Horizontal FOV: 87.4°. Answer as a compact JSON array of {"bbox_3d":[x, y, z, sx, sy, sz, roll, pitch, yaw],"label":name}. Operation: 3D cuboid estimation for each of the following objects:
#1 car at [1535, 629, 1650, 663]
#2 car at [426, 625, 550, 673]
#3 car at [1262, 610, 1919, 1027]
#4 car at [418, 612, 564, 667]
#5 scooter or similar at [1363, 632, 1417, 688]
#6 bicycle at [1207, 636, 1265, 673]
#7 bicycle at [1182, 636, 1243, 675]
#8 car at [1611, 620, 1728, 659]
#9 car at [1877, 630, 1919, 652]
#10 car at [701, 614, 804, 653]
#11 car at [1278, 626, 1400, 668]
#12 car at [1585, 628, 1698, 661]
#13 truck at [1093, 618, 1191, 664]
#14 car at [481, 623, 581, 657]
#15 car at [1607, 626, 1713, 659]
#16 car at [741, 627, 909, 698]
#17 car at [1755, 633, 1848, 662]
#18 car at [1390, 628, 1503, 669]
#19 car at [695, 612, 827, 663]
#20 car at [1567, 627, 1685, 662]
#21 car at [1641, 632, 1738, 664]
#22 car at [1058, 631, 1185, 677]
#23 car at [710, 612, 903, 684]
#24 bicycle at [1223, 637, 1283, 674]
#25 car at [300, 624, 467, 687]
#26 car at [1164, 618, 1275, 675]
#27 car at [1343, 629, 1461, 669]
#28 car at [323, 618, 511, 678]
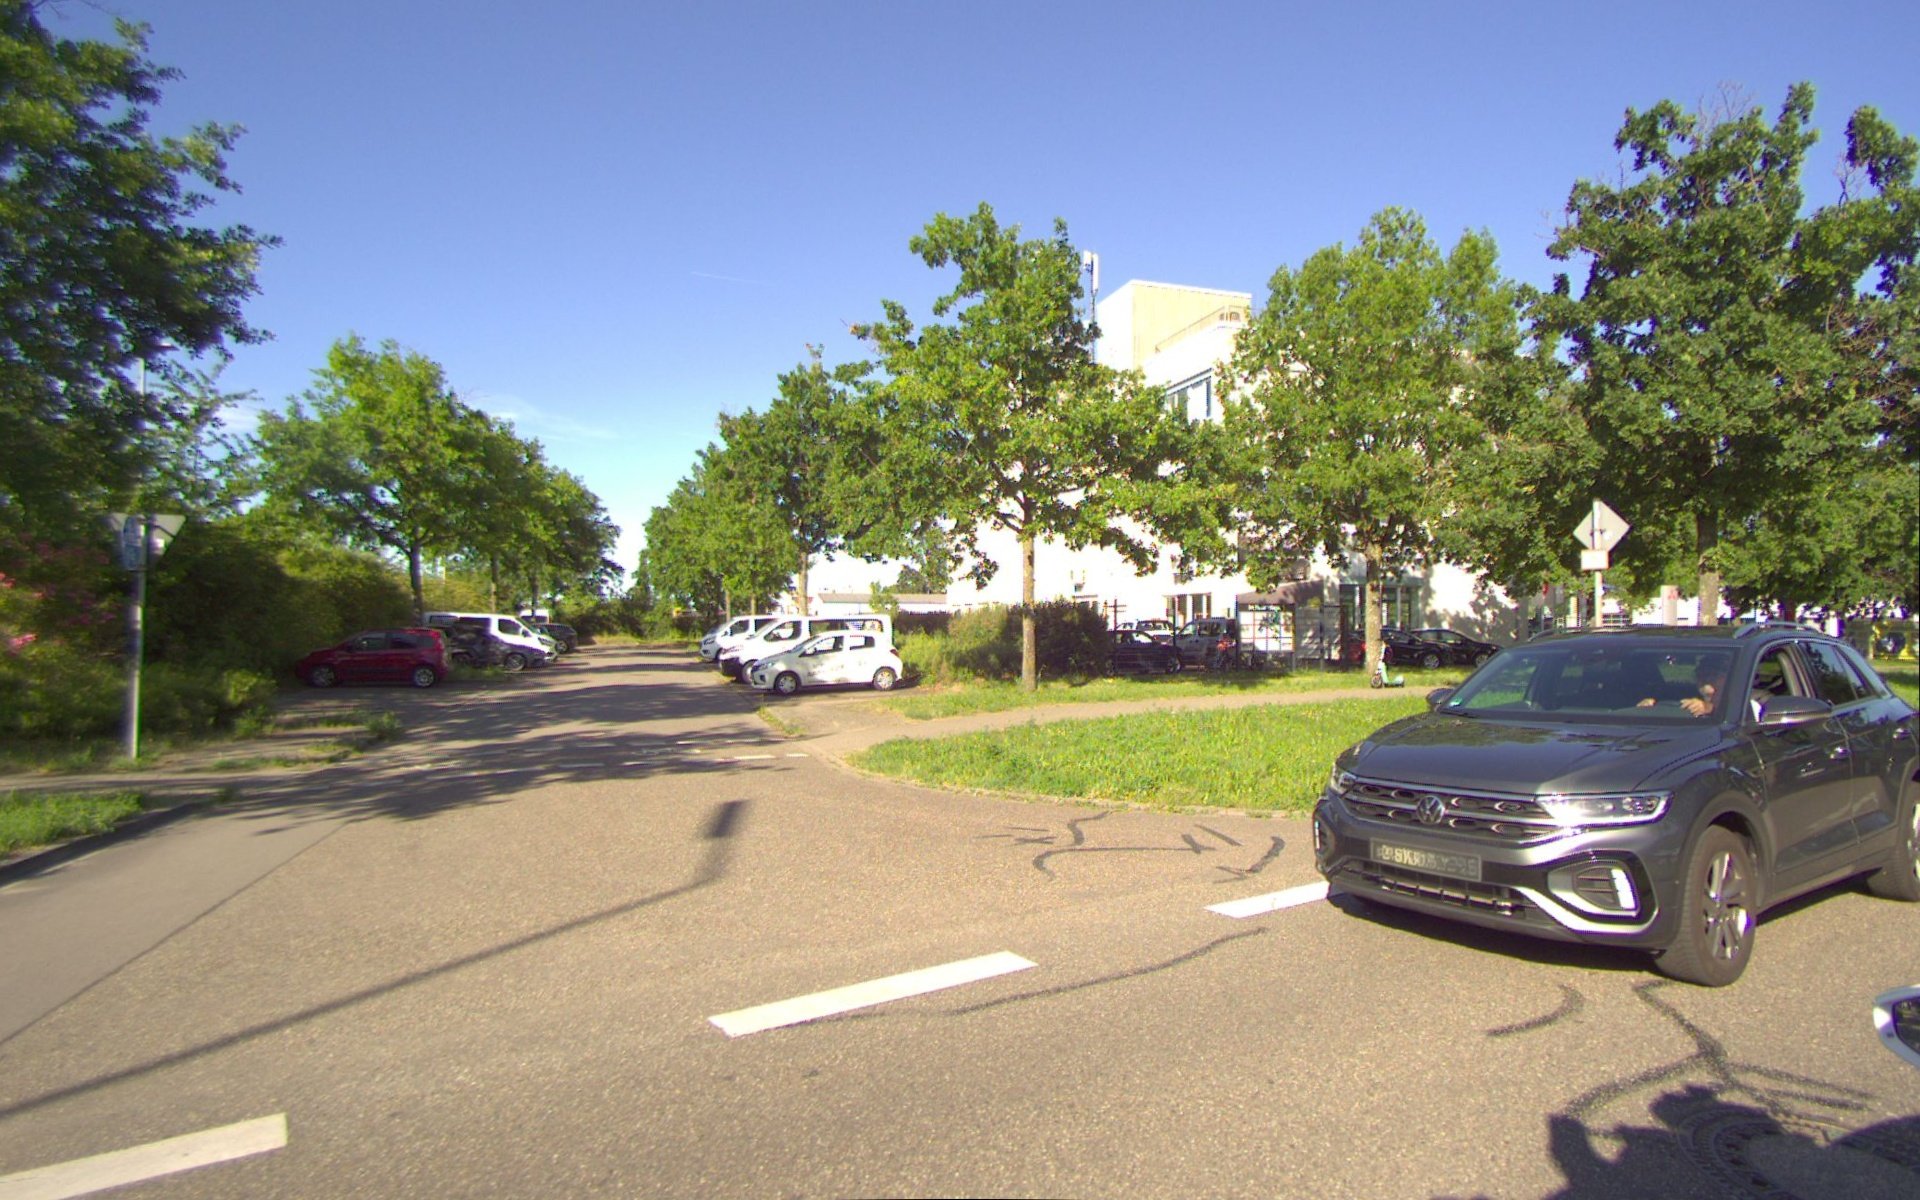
[{"bbox_3d":[27.567,1.979,43.933,3.875,1.420,2.001,0,-2,18],"label":"car"},{"bbox_3d":[-16.907,1.740,36.195,3.945,1.634,1.989,1,-2,-23],"label":"car"},{"bbox_3d":[3.955,0.881,5.741,4.446,1.557,1.795,1,-3,-33],"label":"car"},{"bbox_3d":[-18.028,1.524,38.866,4.801,2.040,1.994,1,-1,-15],"label":"car"},{"bbox_3d":[10.165,1.411,23.738,1.424,1.296,0.393,1,-1,-30],"label":"scooter or similar"},{"bbox_3d":[8.629,1.685,31.388,1.869,1.102,0.636,1,-2,-31],"label":"bicycle"},{"bbox_3d":[7.517,1.640,29.920,1.869,1.102,0.636,1,-2,-31],"label":"bicycle"},{"bbox_3d":[38.286,2.110,54.349,4.762,2.040,2.001,0,-1,18],"label":"car"},{"bbox_3d":[66.258,2.782,68.956,1.915,1.499,4.487,1,-2,-26],"label":"car"},{"bbox_3d":[-11.722,1.855,56.657,5.433,1.954,2.361,-2,-1,-19],"label":"car"},{"bbox_3d":[13.729,1.687,36.559,3.919,1.467,1.802,0,-2,12],"label":"car"},{"bbox_3d":[32.527,2.119,48.055,4.088,1.510,2.000,-1,-2,21],"label":"car"},{"bbox_3d":[7.180,1.597,40.222,2.054,1.646,4.615,1,0,-16],"label":"truck"},{"bbox_3d":[-23.649,2.194,55.564,4.801,1.797,1.994,1,-1,-15],"label":"car"},{"bbox_3d":[34.990,2.110,50.338,4.094,1.583,1.997,-1,-2,28],"label":"car"},{"bbox_3d":[-3.419,1.507,25.269,3.856,1.524,1.992,-2,-1,-19],"label":"car"},{"bbox_3d":[48.782,2.735,58.304,1.931,1.639,3.743,1,-2,-15],"label":"car"},{"bbox_3d":[19.412,1.906,40.094,3.929,1.531,1.797,-1,-1,31],"label":"car"},{"bbox_3d":[-8.842,1.643,44.619,5.433,1.954,2.361,-2,-1,-19],"label":"car"},{"bbox_3d":[30.201,1.992,45.709,4.087,1.558,1.897,0,-2,18],"label":"car"},{"bbox_3d":[46.733,3.036,64.500,1.908,1.931,5.013,0,-2,-14],"label":"car"},{"bbox_3d":[5.424,1.764,33.726,3.949,1.467,1.789,1,-2,-28],"label":"car"},{"bbox_3d":[-4.634,1.396,30.197,5.357,1.841,2.299,-2,-1,-19],"label":"car"},{"bbox_3d":[8.861,1.664,30.370,1.869,1.102,0.636,1,-2,-31],"label":"bicycle"},{"bbox_3d":[-15.119,1.463,26.553,3.497,1.524,1.798,2,-2,-19],"label":"car"},{"bbox_3d":[9.063,1.574,35.400,1.993,1.807,4.016,1,0,-17],"label":"car"},{"bbox_3d":[16.825,1.854,38.394,3.920,1.467,1.802,0,-2,17],"label":"car"},{"bbox_3d":[-16.848,1.476,31.438,4.801,1.808,1.994,1,-1,-15],"label":"car"}]
